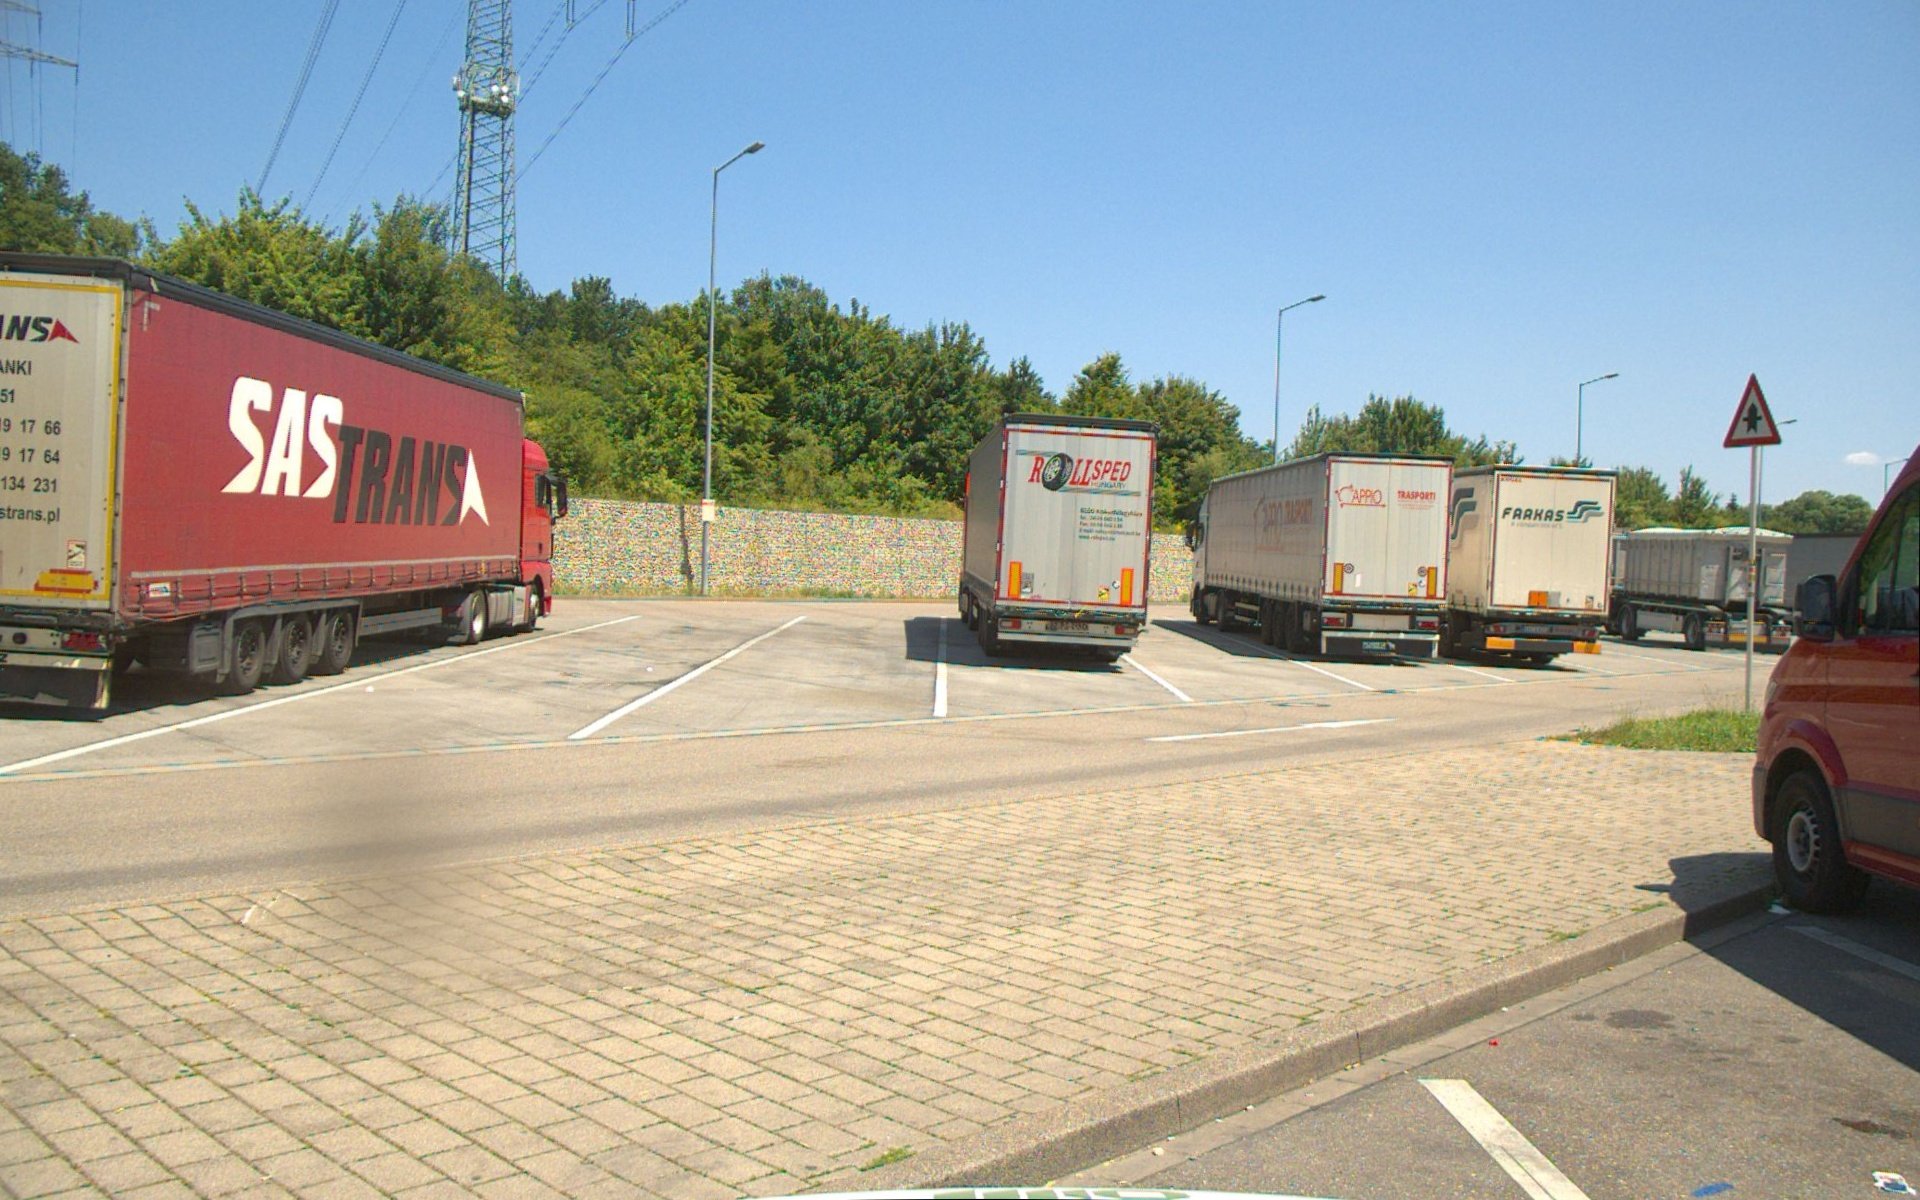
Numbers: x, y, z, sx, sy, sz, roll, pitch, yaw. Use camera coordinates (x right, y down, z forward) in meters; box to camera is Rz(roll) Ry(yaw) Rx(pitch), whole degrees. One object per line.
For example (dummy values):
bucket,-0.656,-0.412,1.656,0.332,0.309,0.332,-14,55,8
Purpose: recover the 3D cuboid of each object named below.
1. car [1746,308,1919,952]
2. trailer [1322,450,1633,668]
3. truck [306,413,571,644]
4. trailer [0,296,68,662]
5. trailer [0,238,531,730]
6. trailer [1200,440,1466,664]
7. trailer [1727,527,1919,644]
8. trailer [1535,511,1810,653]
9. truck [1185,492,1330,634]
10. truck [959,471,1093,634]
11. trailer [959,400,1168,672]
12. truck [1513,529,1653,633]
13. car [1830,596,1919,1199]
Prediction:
car,5.008,0.161,5.555,2.023,2.742,6.397,1,1,4
trailer,11.763,-1.022,39.629,2.781,4.204,13.722,2,2,-1
truck,-8.799,-1.204,28.615,2.794,3.487,5.482,2,2,-1
trailer,-12.529,-1.305,15.696,2.673,4.282,10.170,2,2,-1
trailer,-8.684,-1.295,21.180,2.848,4.203,13.723,2,2,-1
trailer,8.204,-1.141,38.823,2.781,4.204,13.722,2,2,-1
trailer,34.930,-0.655,65.410,2.780,4.119,13.726,2,2,1
trailer,21.919,-0.692,52.205,2.780,3.781,13.726,2,2,1
truck,8.088,-1.041,45.633,2.794,3.544,5.482,2,2,-1
truck,1.475,-1.144,39.843,2.794,3.544,5.482,2,2,-1
trailer,1.643,-1.232,33.234,2.848,4.204,13.720,2,2,-2
truck,21.999,-0.722,58.709,2.794,3.423,5.484,2,2,0
car,2.597,0.795,1.150,1.703,1.508,3.813,1,1,-6
